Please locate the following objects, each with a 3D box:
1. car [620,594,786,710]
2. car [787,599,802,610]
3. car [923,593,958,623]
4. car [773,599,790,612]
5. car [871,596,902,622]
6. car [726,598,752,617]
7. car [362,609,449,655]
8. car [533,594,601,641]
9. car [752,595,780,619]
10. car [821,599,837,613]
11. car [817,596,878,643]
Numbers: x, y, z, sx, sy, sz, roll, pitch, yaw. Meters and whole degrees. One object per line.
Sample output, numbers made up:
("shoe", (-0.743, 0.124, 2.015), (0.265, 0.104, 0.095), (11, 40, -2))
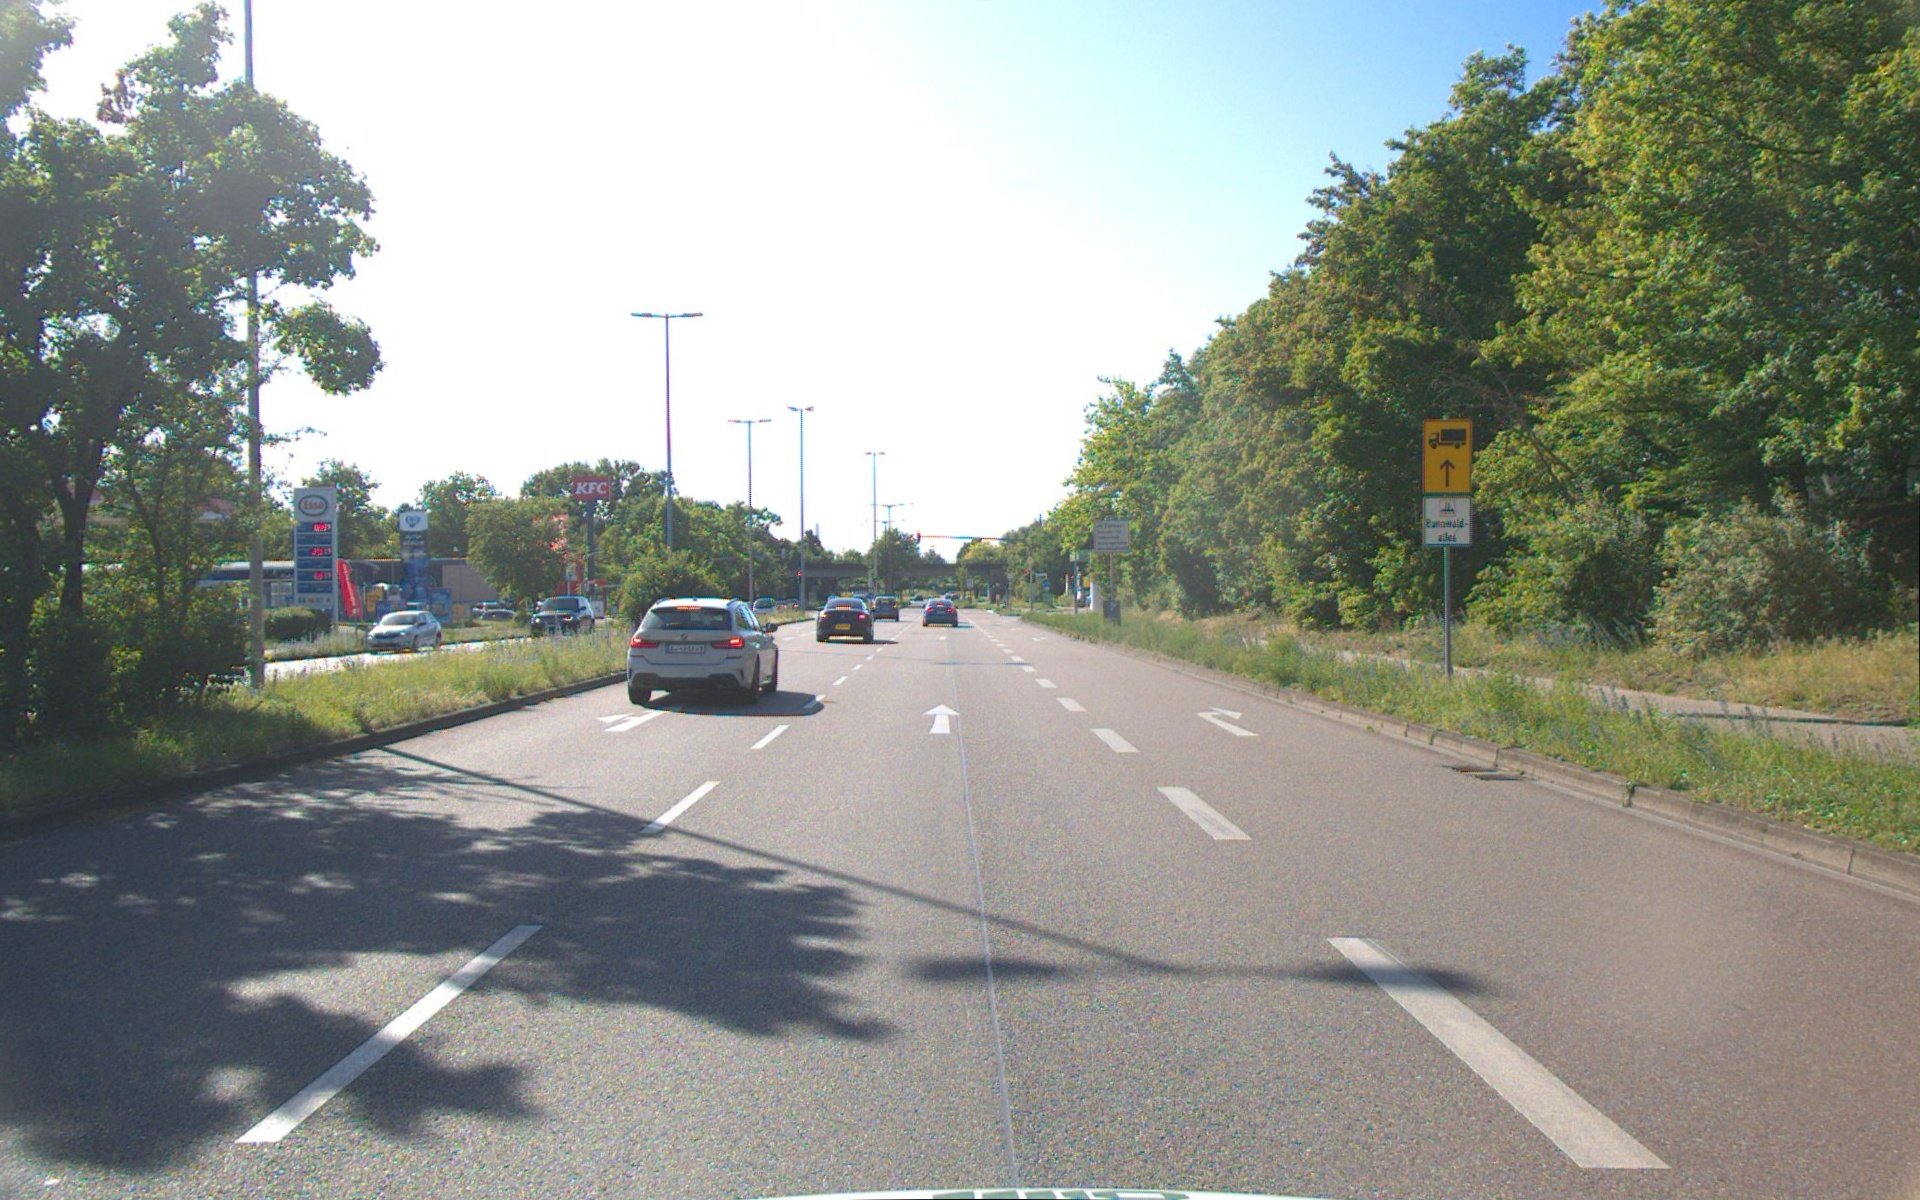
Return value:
("car", (-3.691, 0.696, 24.494), (1.824, 1.480, 4.546), (1, 1, -1))
("car", (-21.139, 0.562, 211.334), (1.669, 1.427, 3.722), (-1, 0, -1))
("car", (-1.034, 0.408, 89.170), (1.824, 1.525, 4.336), (-1, 0, -1))
("car", (-21.241, 0.664, 196.662), (1.669, 1.427, 3.722), (-1, 0, -1))
("car", (-4.712, 0.553, 106.771), (1.824, 1.592, 4.547), (-1, 0, -1))
("car", (-17.488, 0.590, 131.016), (1.504, 1.477, 3.671), (-2, 0, -1))
("car", (-20.168, 1.124, 60.332), (1.704, 1.481, 4.208), (-3, 0, -1))
("car", (-16.890, 0.709, 71.235), (1.704, 1.833, 4.671), (-4, 0, 0))
("car", (-13.207, 0.471, 112.699), (1.463, 1.535, 3.486), (-1, 0, -1))
("car", (-15.031, 0.682, 189.721), (1.504, 1.608, 3.671), (-2, 0, -1))
("car", (-3.793, 0.632, 56.371), (1.824, 1.480, 4.547), (-1, 0, -1))
